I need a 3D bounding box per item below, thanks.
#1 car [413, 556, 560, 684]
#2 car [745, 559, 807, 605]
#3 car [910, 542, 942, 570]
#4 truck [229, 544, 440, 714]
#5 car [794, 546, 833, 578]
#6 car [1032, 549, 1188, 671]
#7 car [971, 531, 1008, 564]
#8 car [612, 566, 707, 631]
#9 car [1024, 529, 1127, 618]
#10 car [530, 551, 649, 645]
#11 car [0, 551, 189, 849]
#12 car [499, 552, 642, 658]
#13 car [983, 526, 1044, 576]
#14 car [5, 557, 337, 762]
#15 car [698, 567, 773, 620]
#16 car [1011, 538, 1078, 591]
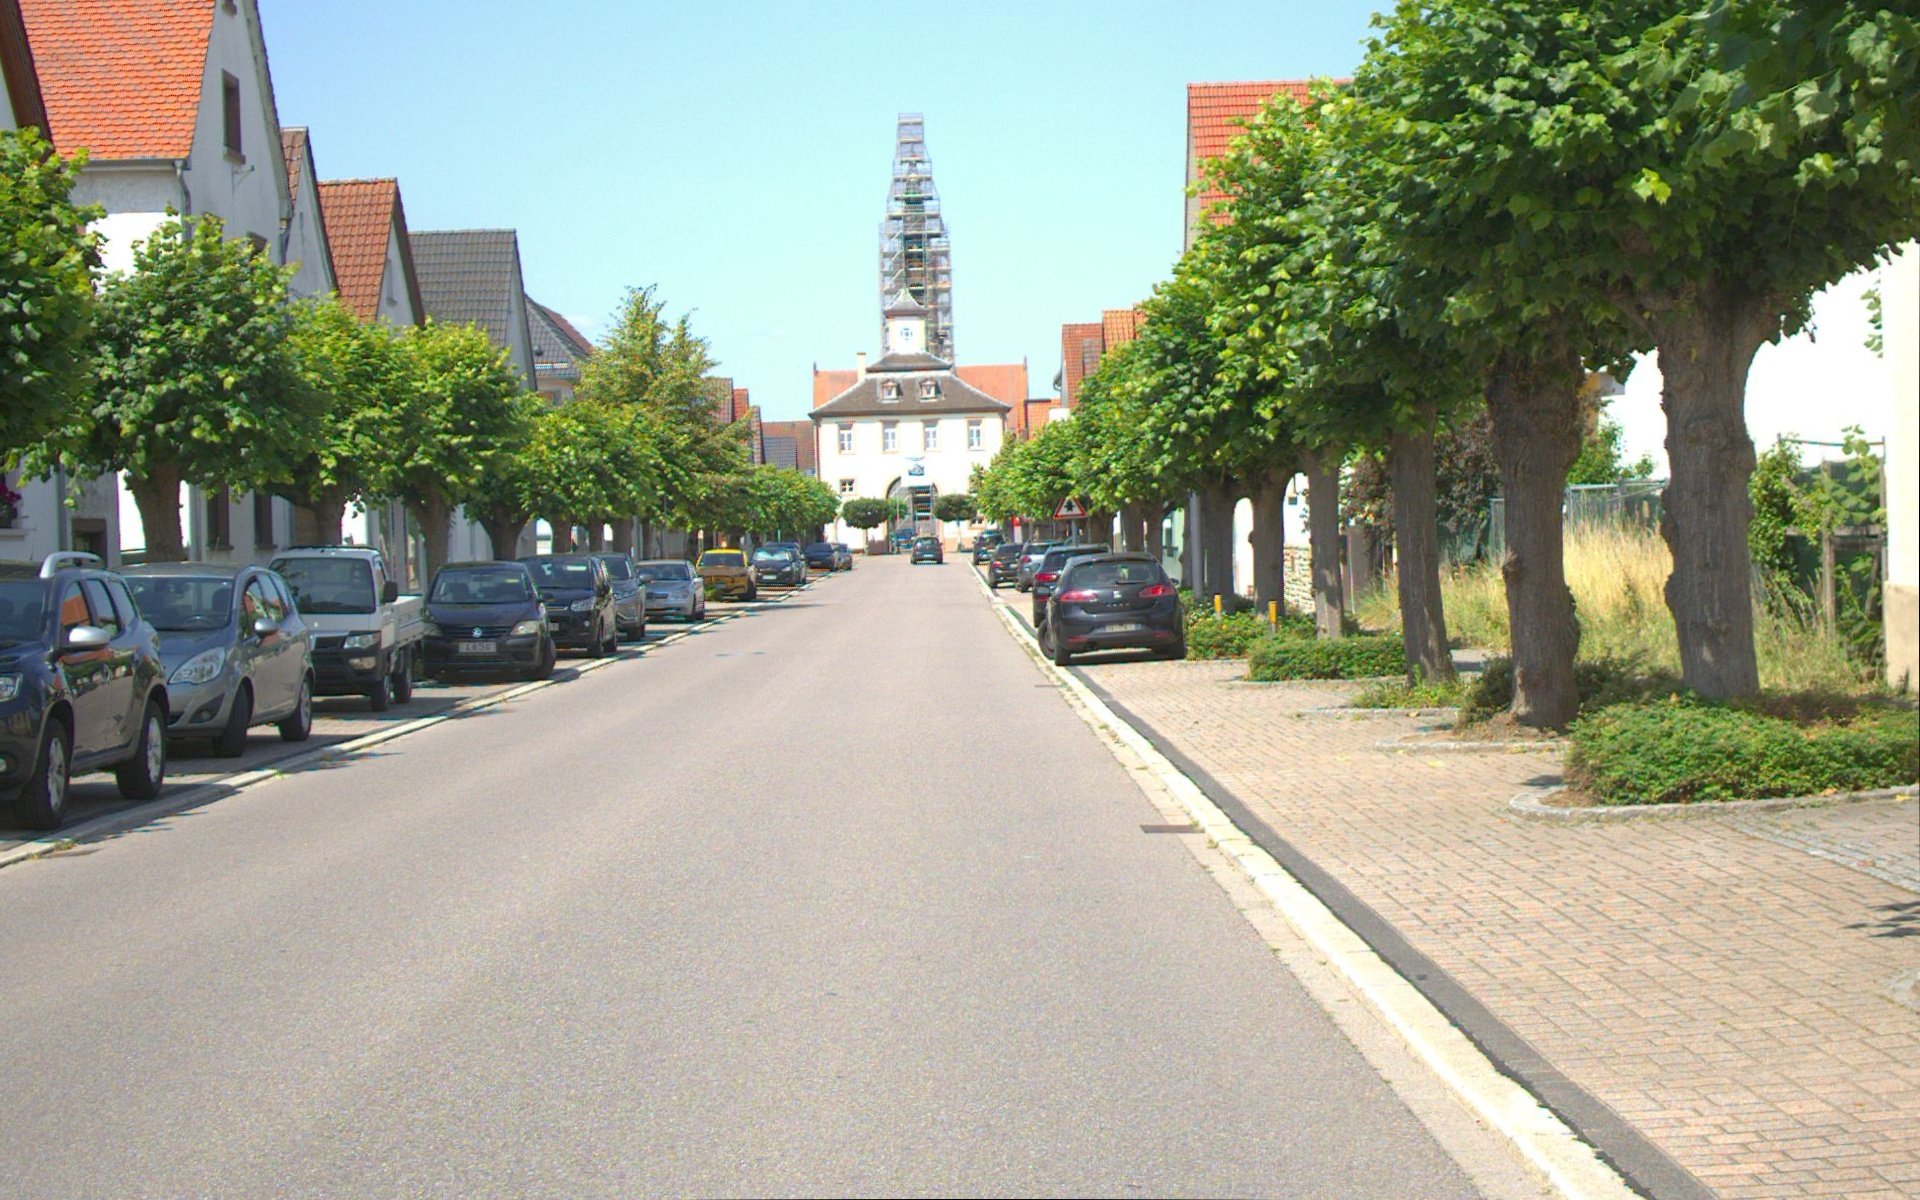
[{"bbox_3d":[-6.315,0.228,46.182,1.785,1.628,4.001,-1,1,-6],"label":"car"},{"bbox_3d":[-6.957,-0.709,130.312,1.993,1.606,4.689,-1,2,1],"label":"car"},{"bbox_3d":[-1.833,-2.381,186.566,1.729,1.542,3.455,0,0,0],"label":"car"},{"bbox_3d":[-6.806,0.273,37.747,1.576,1.759,4.192,0,1,0],"label":"truck"},{"bbox_3d":[-7.378,-1.919,173.257,1.757,1.550,4.020,-2,1,0],"label":"car"},{"bbox_3d":[1.989,0.100,46.608,1.824,1.427,4.057,-4,1,0],"label":"car"},{"bbox_3d":[1.523,-2.742,178.895,1.837,1.550,4.314,-3,1,0],"label":"car"},{"bbox_3d":[-6.841,-0.052,78.595,1.840,1.391,4.407,-1,1,-1],"label":"car"},{"bbox_3d":[2.307,-0.549,67.649,1.824,1.580,4.056,-3,1,4],"label":"car"},{"bbox_3d":[-6.900,-0.059,64.321,1.993,1.647,4.368,1,1,-4],"label":"car"},{"bbox_3d":[-6.286,0.540,21.784,1.853,1.631,4.299,1,2,0],"label":"car"},{"bbox_3d":[-6.219,0.059,55.249,1.853,1.629,4.057,0,0,0],"label":"car"},{"bbox_3d":[1.796,-1.650,116.090,1.837,1.550,4.314,-3,1,-1],"label":"car"},{"bbox_3d":[-6.641,0.452,29.402,1.853,1.607,4.371,0,0,0],"label":"car"},{"bbox_3d":[-7.076,-0.215,108.875,1.993,1.606,4.689,0,1,1],"label":"car"},{"bbox_3d":[2.642,-1.128,108.303,1.837,1.602,4.000,-2,1,-2],"label":"car"}]
